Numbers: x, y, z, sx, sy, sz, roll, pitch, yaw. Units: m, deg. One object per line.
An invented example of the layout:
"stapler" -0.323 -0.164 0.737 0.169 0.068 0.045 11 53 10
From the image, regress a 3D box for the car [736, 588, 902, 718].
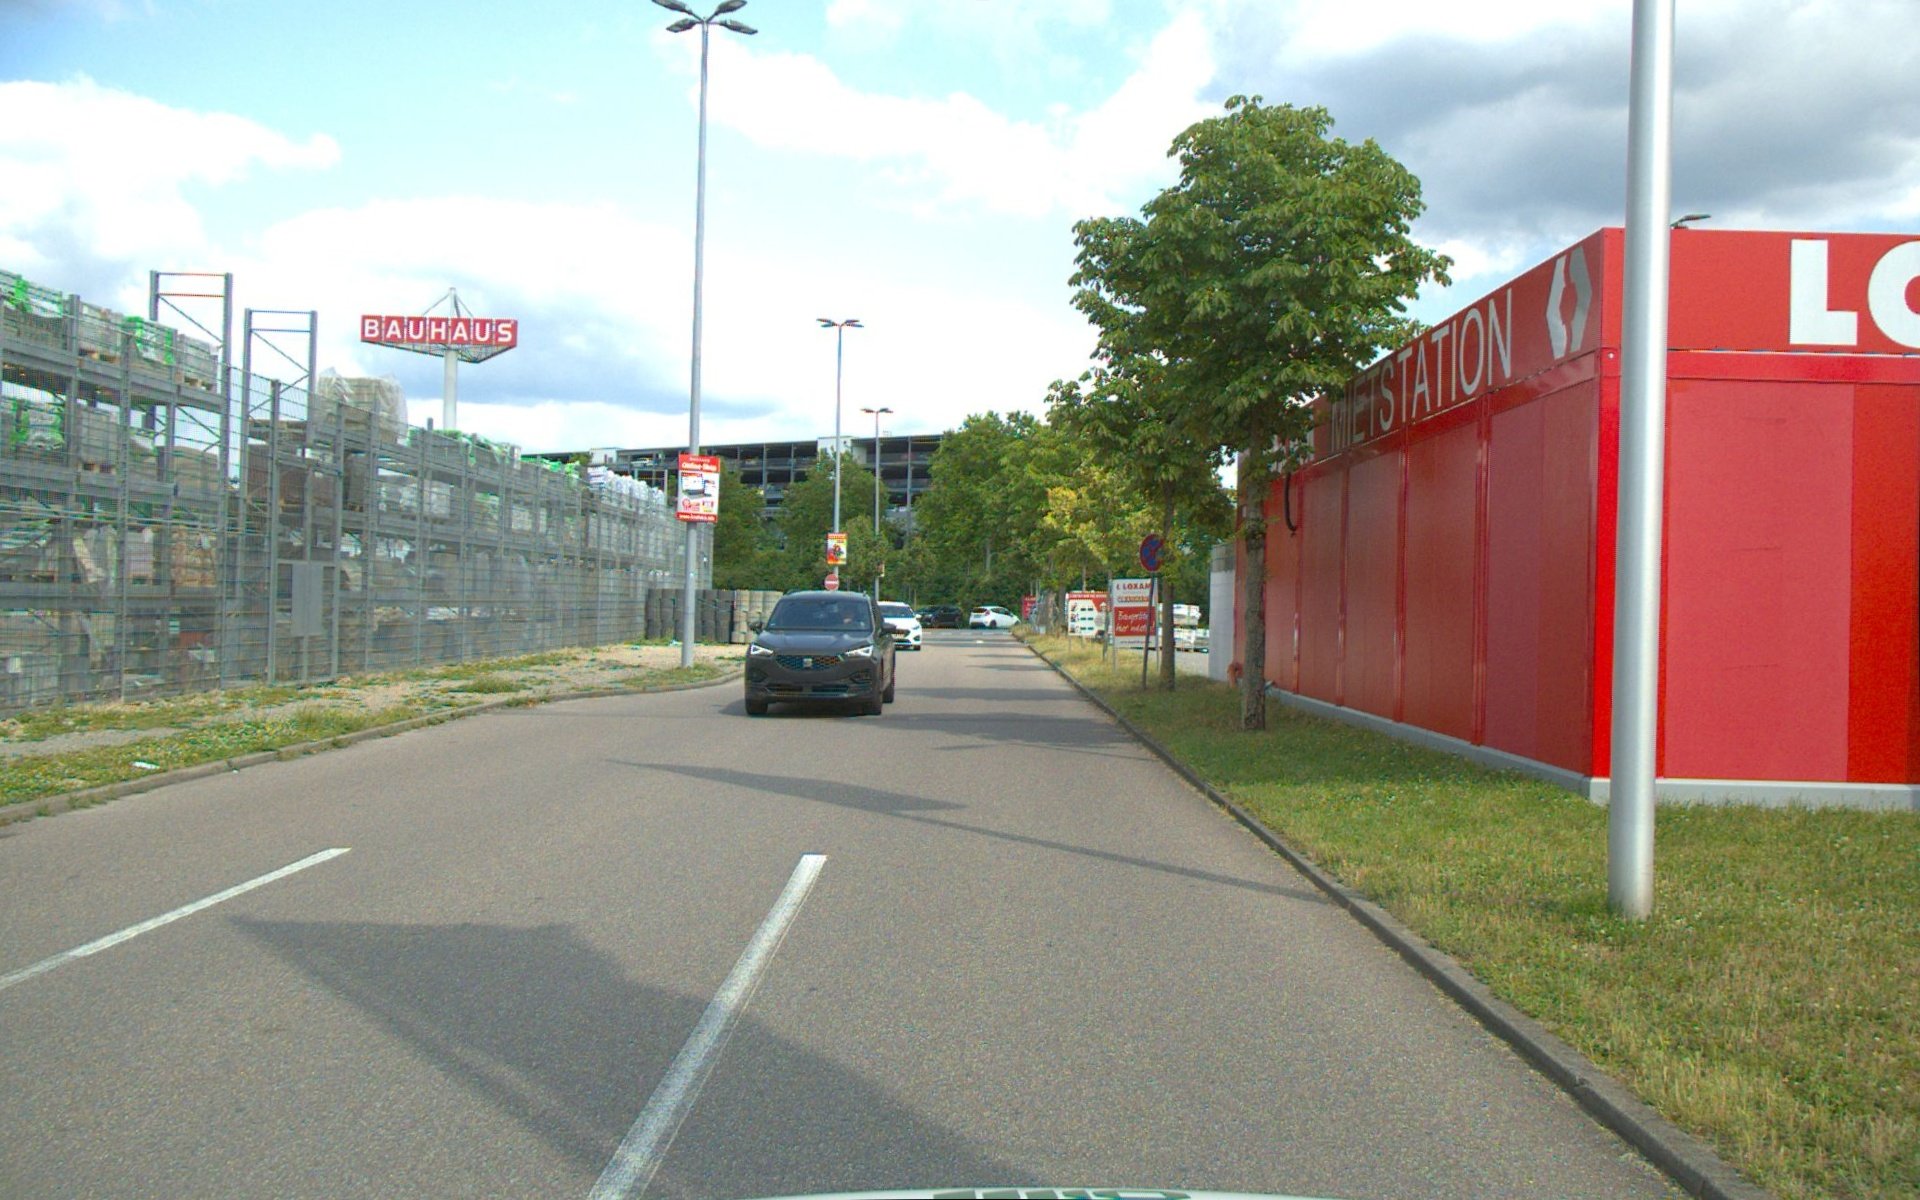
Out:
"car" -1.892 0.663 23.476 1.875 1.646 4.374 0 1 1

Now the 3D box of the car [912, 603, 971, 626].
"car" -1.160 0.921 106.228 1.698 1.435 4.229 1 0 34

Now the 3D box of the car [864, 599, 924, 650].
"car" -2.067 0.738 52.219 1.767 1.490 4.327 1 0 -2

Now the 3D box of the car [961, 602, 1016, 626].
"car" 1.790 0.892 103.281 1.639 1.436 3.540 1 0 39
